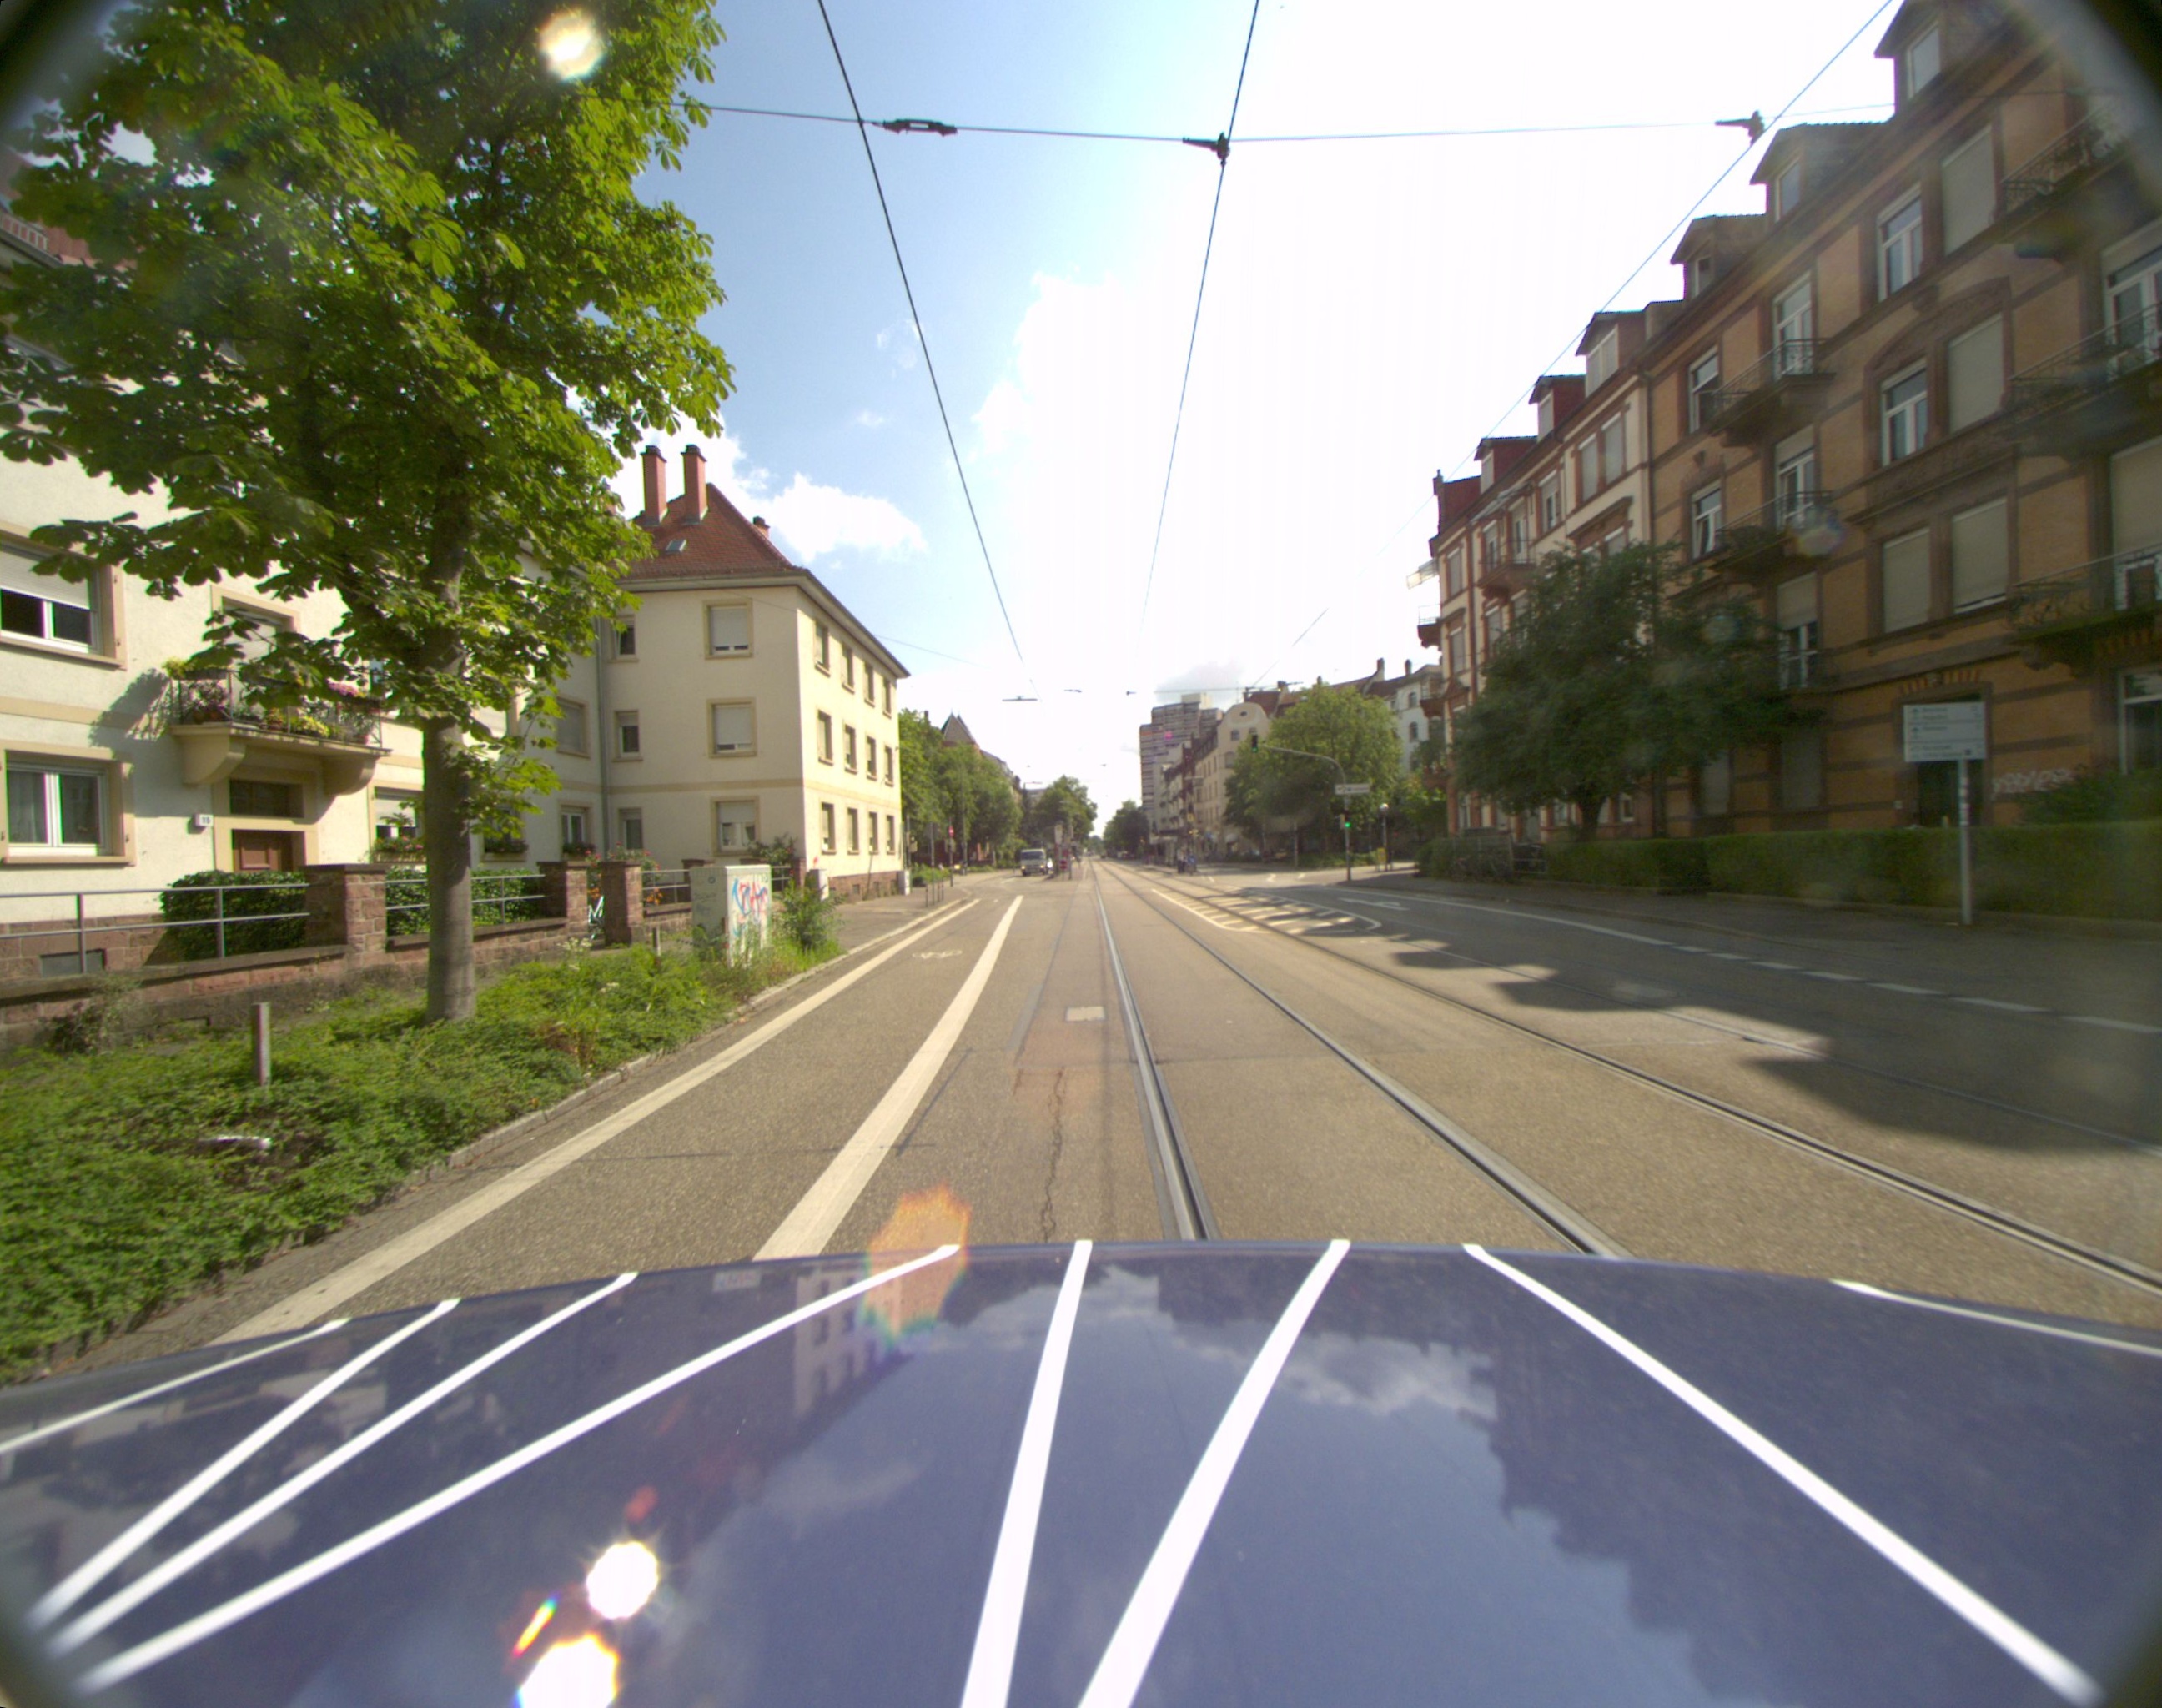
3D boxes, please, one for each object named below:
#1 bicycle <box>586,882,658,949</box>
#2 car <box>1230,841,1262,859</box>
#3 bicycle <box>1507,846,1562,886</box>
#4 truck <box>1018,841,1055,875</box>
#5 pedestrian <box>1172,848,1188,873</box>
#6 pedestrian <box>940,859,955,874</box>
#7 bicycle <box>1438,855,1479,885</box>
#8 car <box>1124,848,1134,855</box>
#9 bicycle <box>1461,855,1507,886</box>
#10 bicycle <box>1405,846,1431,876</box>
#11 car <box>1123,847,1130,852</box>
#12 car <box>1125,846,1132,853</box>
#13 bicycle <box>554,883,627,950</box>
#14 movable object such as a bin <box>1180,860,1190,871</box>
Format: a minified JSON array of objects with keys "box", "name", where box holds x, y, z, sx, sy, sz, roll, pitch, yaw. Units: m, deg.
[{"box":[-9.154,1.203,15.210,0.506,1.194,1.491,-2,0,-1],"name":"bicycle"},{"box":[19.498,-0.422,89.849,3.420,1.842,1.614,-4,1,20],"name":"car"},{"box":[13.379,0.341,22.416,1.308,1.124,0.497,-2,1,-1],"name":"bicycle"},{"box":[-3.799,0.326,65.876,2.531,2.722,6.515,-2,0,1],"name":"truck"},{"box":[6.348,0.406,48.715,0.783,1.565,0.692,-2,1,-13],"name":"pedestrian"},{"box":[-11.314,1.052,64.275,1.160,1.195,0.906,1,0,-7],"name":"pedestrian"},{"box":[12.788,0.528,25.769,0.560,0.927,1.826,-2,1,4],"name":"bicycle"},{"box":[10.520,-0.594,166.635,1.841,1.482,3.891,-2,0,0],"name":"car"},{"box":[12.674,0.503,23.938,0.560,0.927,1.826,-2,1,4],"name":"bicycle"},{"box":[14.654,0.293,33.010,0.481,1.218,1.958,-2,1,39],"name":"bicycle"},{"box":[13.298,-1.285,222.687,1.841,1.482,3.891,-2,0,0],"name":"car"},{"box":[15.652,-1.514,251.091,1.841,2.180,3.891,-2,0,0],"name":"car"},{"box":[-9.903,1.236,15.405,0.506,1.194,1.490,-3,0,-2],"name":"bicycle"},{"box":[6.795,0.766,49.563,0.513,0.713,0.457,-2,1,-13],"name":"movable object such as a bin"}]
